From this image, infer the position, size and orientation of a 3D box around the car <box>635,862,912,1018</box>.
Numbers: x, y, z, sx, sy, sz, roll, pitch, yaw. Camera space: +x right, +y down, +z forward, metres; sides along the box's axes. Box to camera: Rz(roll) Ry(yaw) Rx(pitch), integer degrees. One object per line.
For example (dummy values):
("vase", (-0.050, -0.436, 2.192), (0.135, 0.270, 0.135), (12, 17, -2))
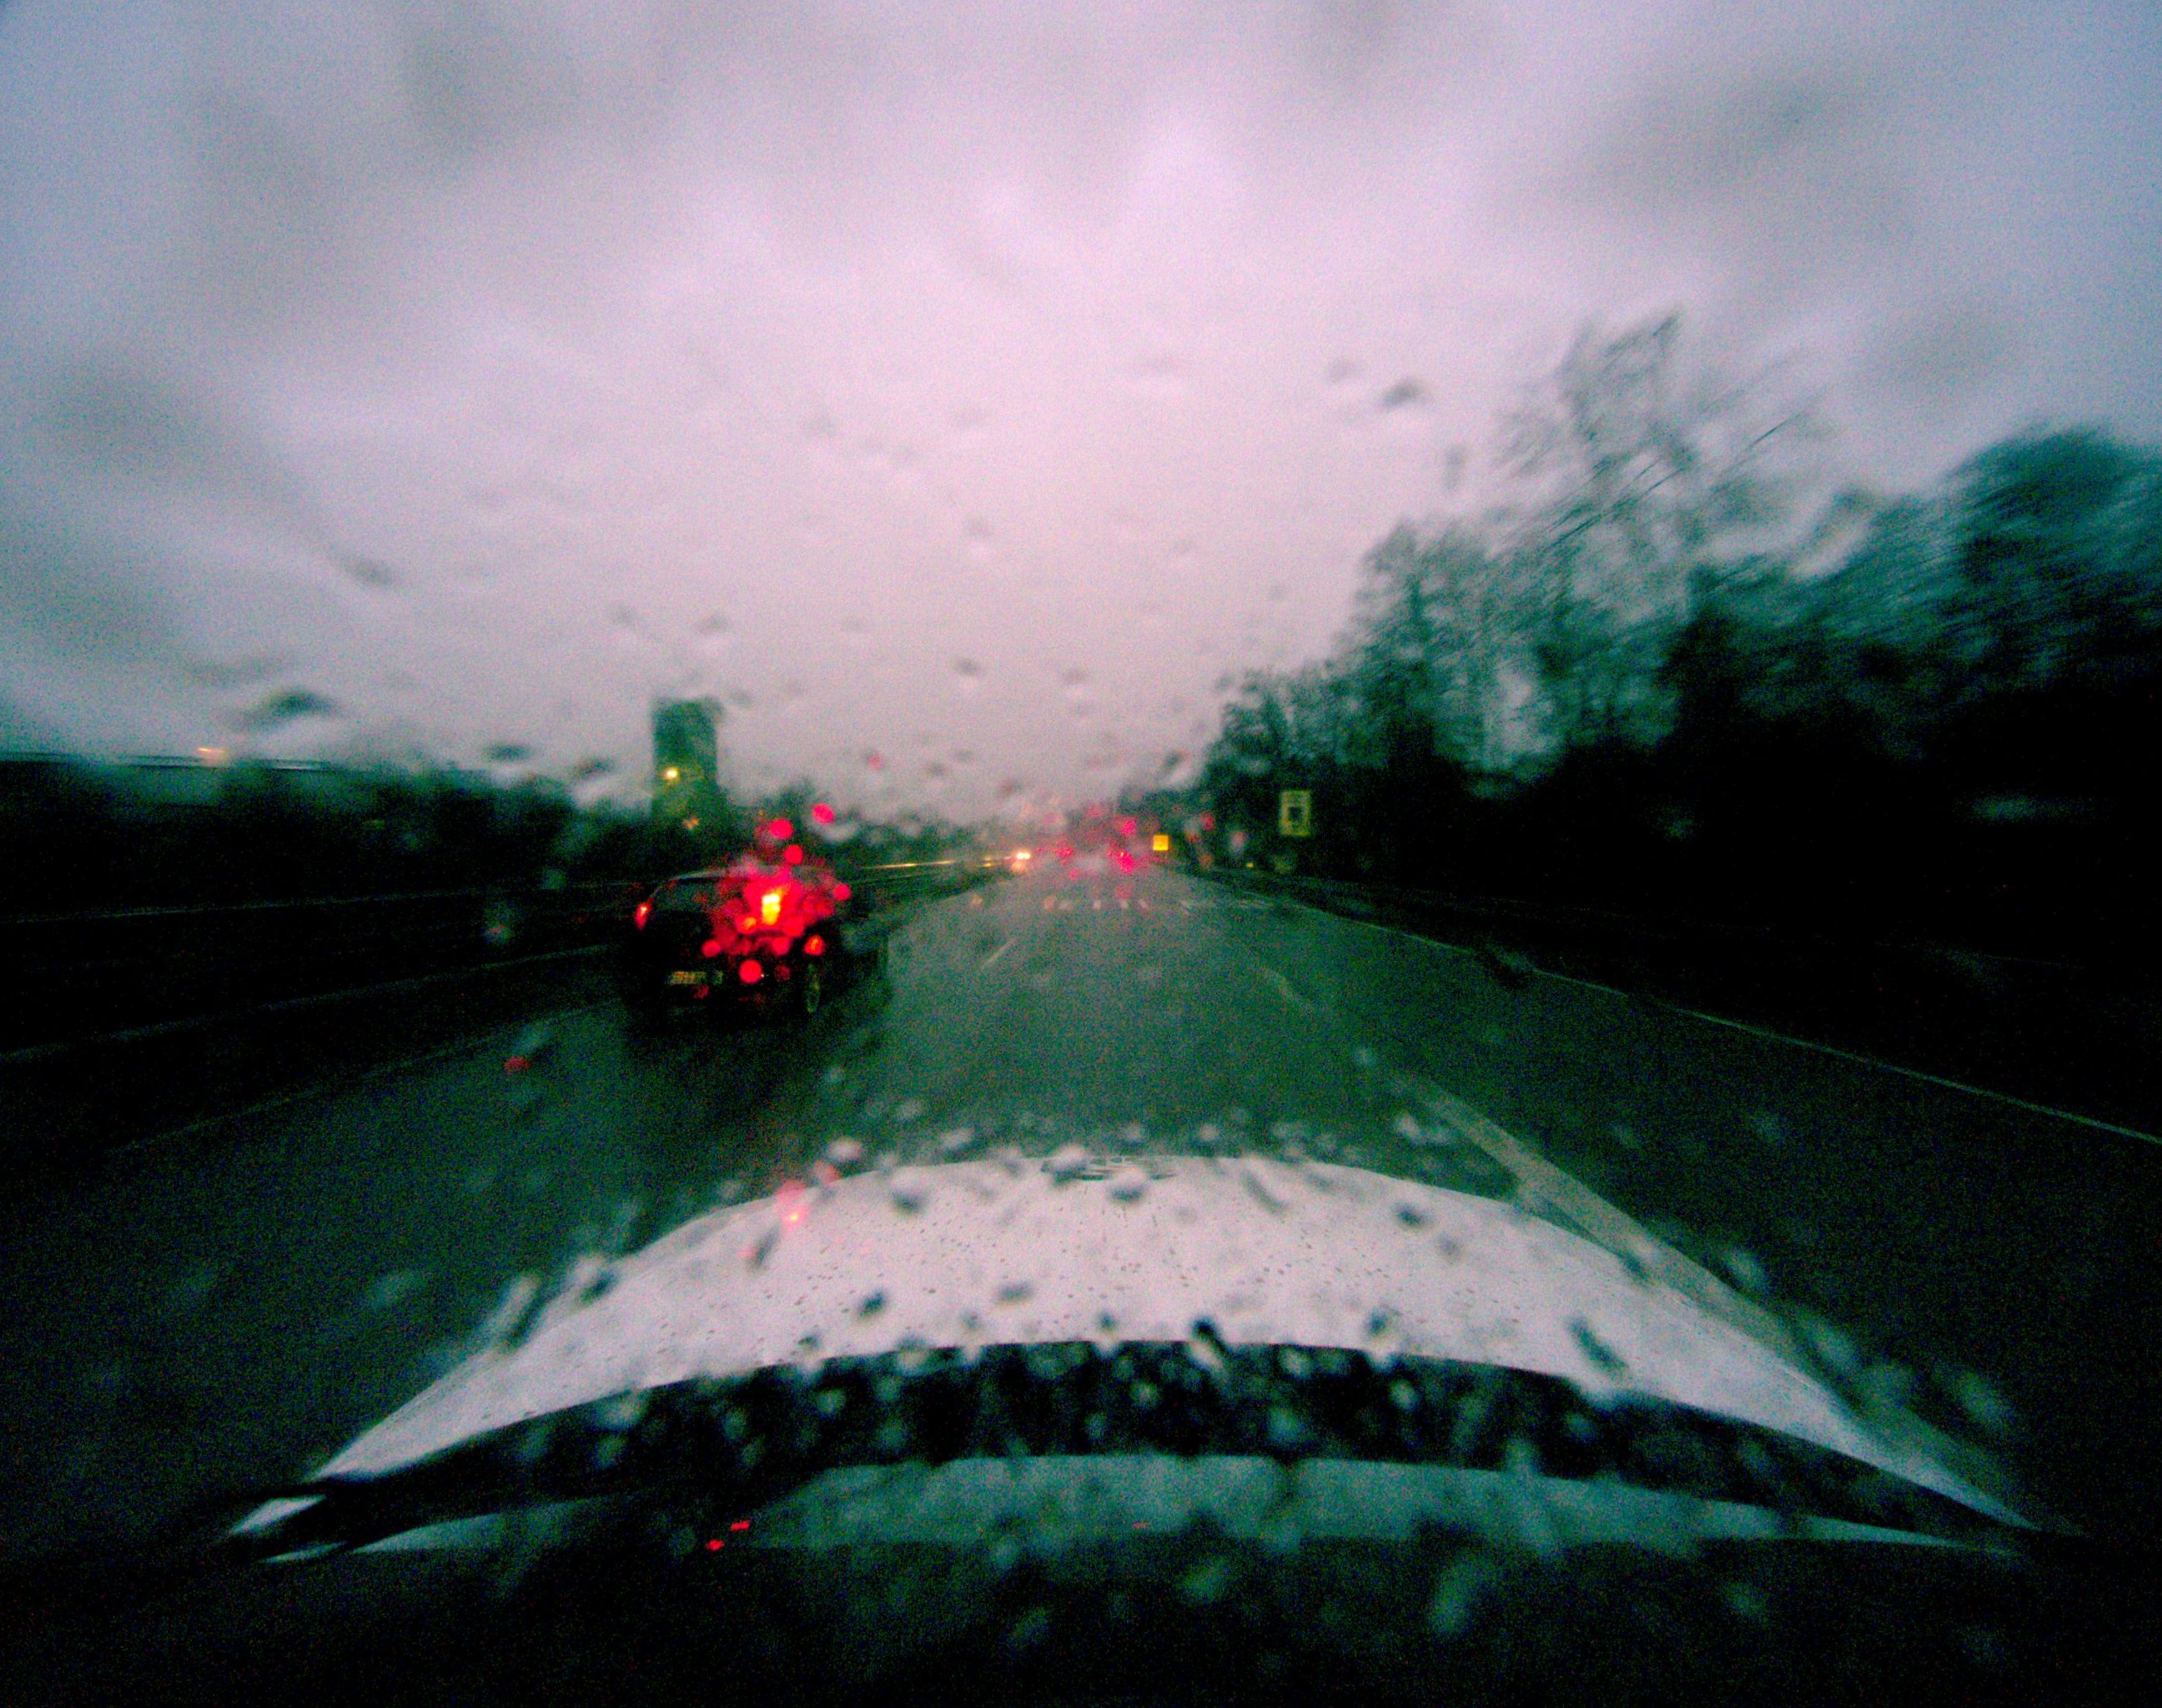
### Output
("car", (-3.227, 0.811, 9.464), (1.620, 1.392, 4.000), (1, 0, 1))

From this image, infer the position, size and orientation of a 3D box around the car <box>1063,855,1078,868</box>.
("car", (-1.129, 0.763, 85.633), (1.410, 1.317, 3.084), (1, 0, 2))

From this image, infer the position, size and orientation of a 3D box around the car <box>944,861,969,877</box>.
("car", (-11.689, 1.424, 76.659), (1.609, 1.464, 3.646), (0, -1, 2))
